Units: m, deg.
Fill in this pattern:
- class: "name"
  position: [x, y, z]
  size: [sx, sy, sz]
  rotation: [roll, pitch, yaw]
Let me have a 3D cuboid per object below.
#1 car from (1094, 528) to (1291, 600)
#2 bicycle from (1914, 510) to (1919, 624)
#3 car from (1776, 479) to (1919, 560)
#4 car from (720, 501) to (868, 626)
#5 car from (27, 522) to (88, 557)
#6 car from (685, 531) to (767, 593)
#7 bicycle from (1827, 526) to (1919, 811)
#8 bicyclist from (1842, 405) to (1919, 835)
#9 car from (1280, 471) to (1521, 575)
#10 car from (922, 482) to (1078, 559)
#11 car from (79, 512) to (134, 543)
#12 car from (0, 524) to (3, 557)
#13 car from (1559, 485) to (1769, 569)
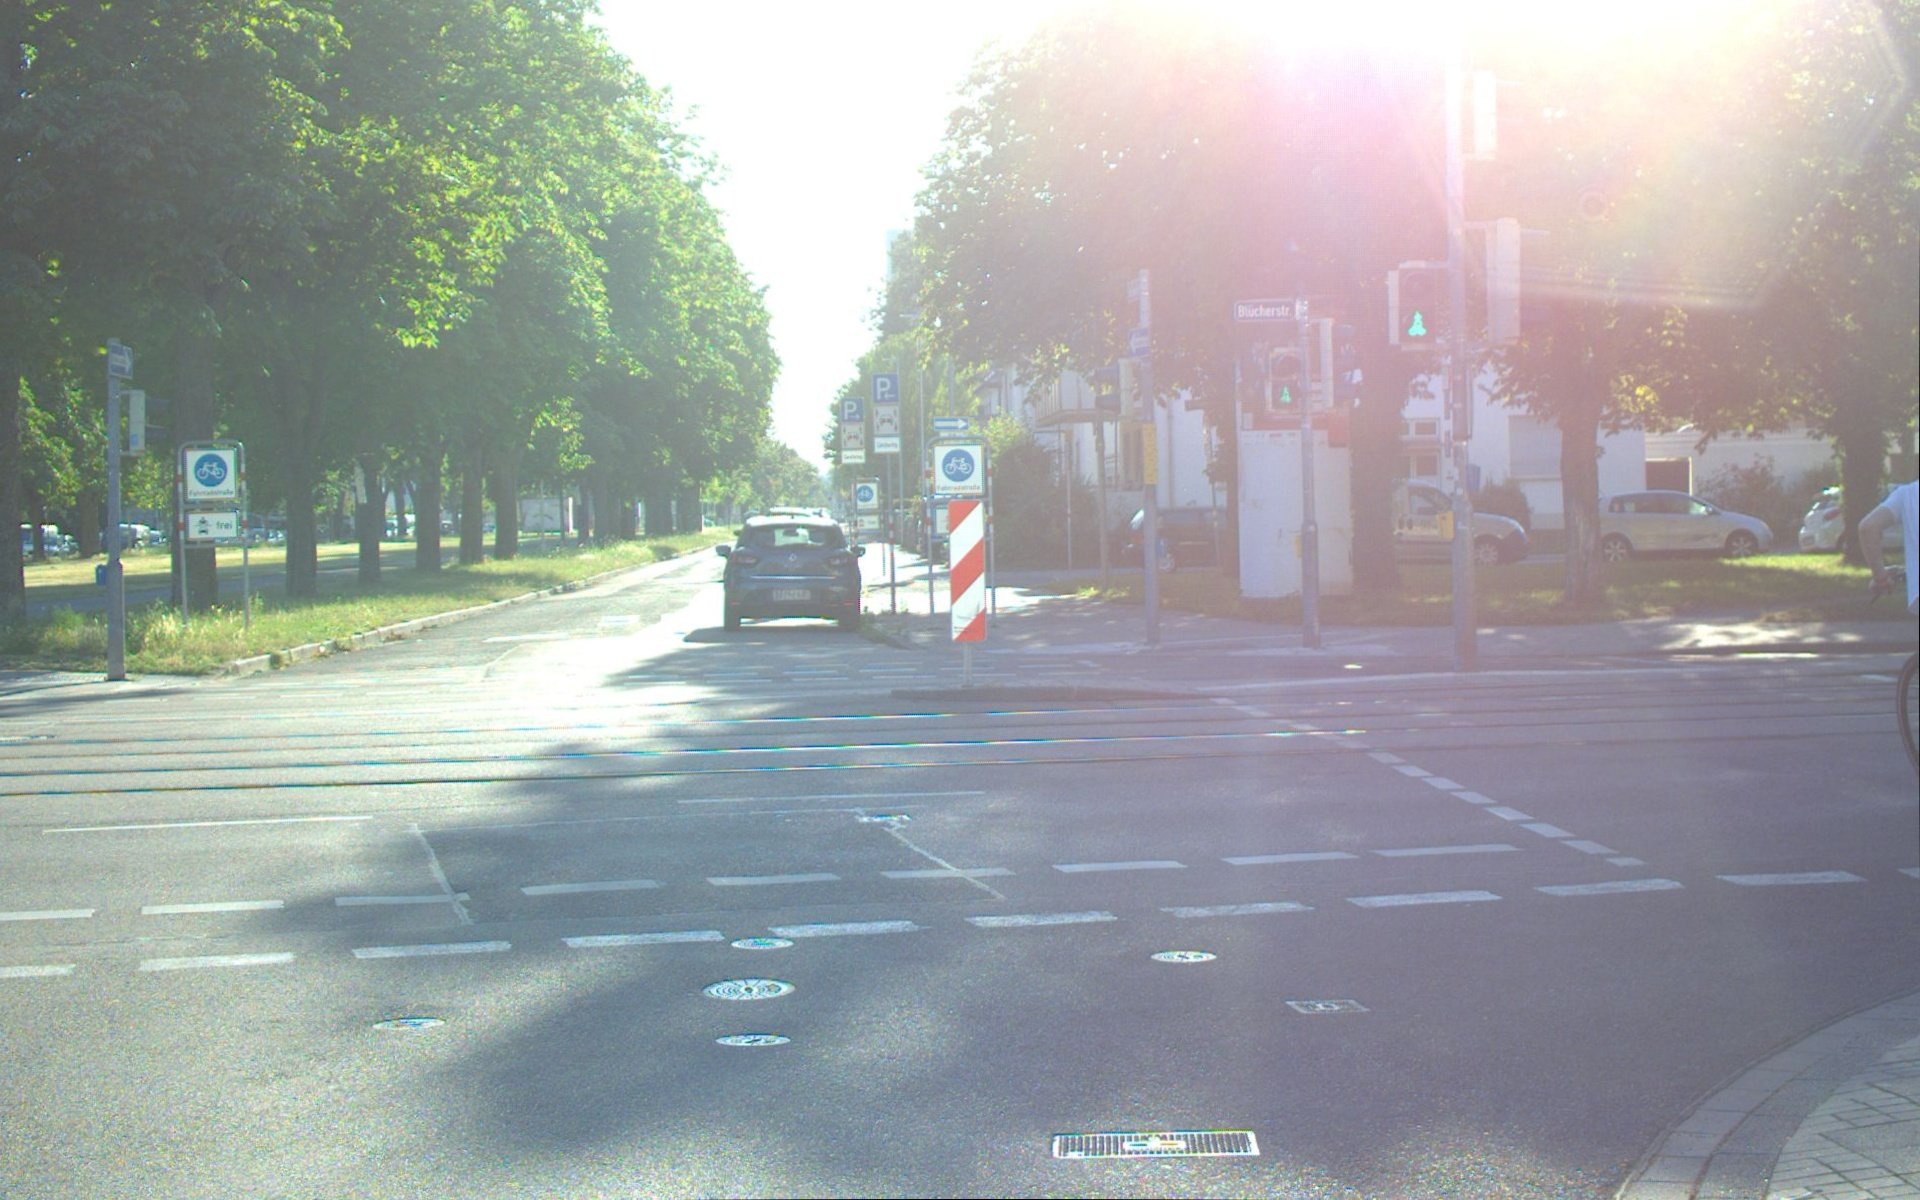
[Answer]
- class: "car"
  position: [4.899, -0.755, 72.806]
  size: [3.986, 1.442, 1.716]
  rotation: [-1, 1, -2]
- class: "bicycle"
  position: [9.919, -0.331, 32.796]
  size: [1.522, 1.085, 0.467]
  rotation: [-1, 1, 7]
- class: "car"
  position: [17.817, -1.537, 65.943]
  size: [3.920, 1.518, 1.524]
  rotation: [0, 0, -7]
- class: "car"
  position: [-2.098, -0.468, 44.520]
  size: [1.725, 1.506, 4.541]
  rotation: [1, 1, -1]
- class: "car"
  position: [-43.963, -2.927, 167.555]
  size: [2.022, 1.653, 3.984]
  rotation: [1, 1, -2]
- class: "car"
  position: [-5.293, -0.864, 78.263]
  size: [1.709, 1.355, 4.203]
  rotation: [1, 1, -2]
- class: "bicycle"
  position: [4.335, 0.291, 14.100]
  size: [0.572, 1.180, 1.906]
  rotation: [1, 1, -18]
- class: "bicyclist"
  position: [4.209, 0.083, 14.044]
  size: [0.814, 1.726, 0.894]
  rotation: [1, 0, -15]
- class: "car"
  position: [8.367, -1.454, 65.559]
  size: [4.241, 1.868, 2.031]
  rotation: [-1, 1, -2]
- class: "car"
  position: [1.075, -2.144, 93.465]
  size: [3.986, 1.816, 1.760]
  rotation: [-2, -4, -6]
- class: "car"
  position: [-46.414, -3.949, 187.038]
  size: [1.993, 1.653, 4.571]
  rotation: [-1, 2, -3]
- class: "car"
  position: [-49.663, -3.020, 172.751]
  size: [1.993, 1.653, 4.355]
  rotation: [1, 1, -1]
- class: "car"
  position: [13.344, -1.383, 65.261]
  size: [3.552, 1.510, 1.606]
  rotation: [-1, 1, -8]
